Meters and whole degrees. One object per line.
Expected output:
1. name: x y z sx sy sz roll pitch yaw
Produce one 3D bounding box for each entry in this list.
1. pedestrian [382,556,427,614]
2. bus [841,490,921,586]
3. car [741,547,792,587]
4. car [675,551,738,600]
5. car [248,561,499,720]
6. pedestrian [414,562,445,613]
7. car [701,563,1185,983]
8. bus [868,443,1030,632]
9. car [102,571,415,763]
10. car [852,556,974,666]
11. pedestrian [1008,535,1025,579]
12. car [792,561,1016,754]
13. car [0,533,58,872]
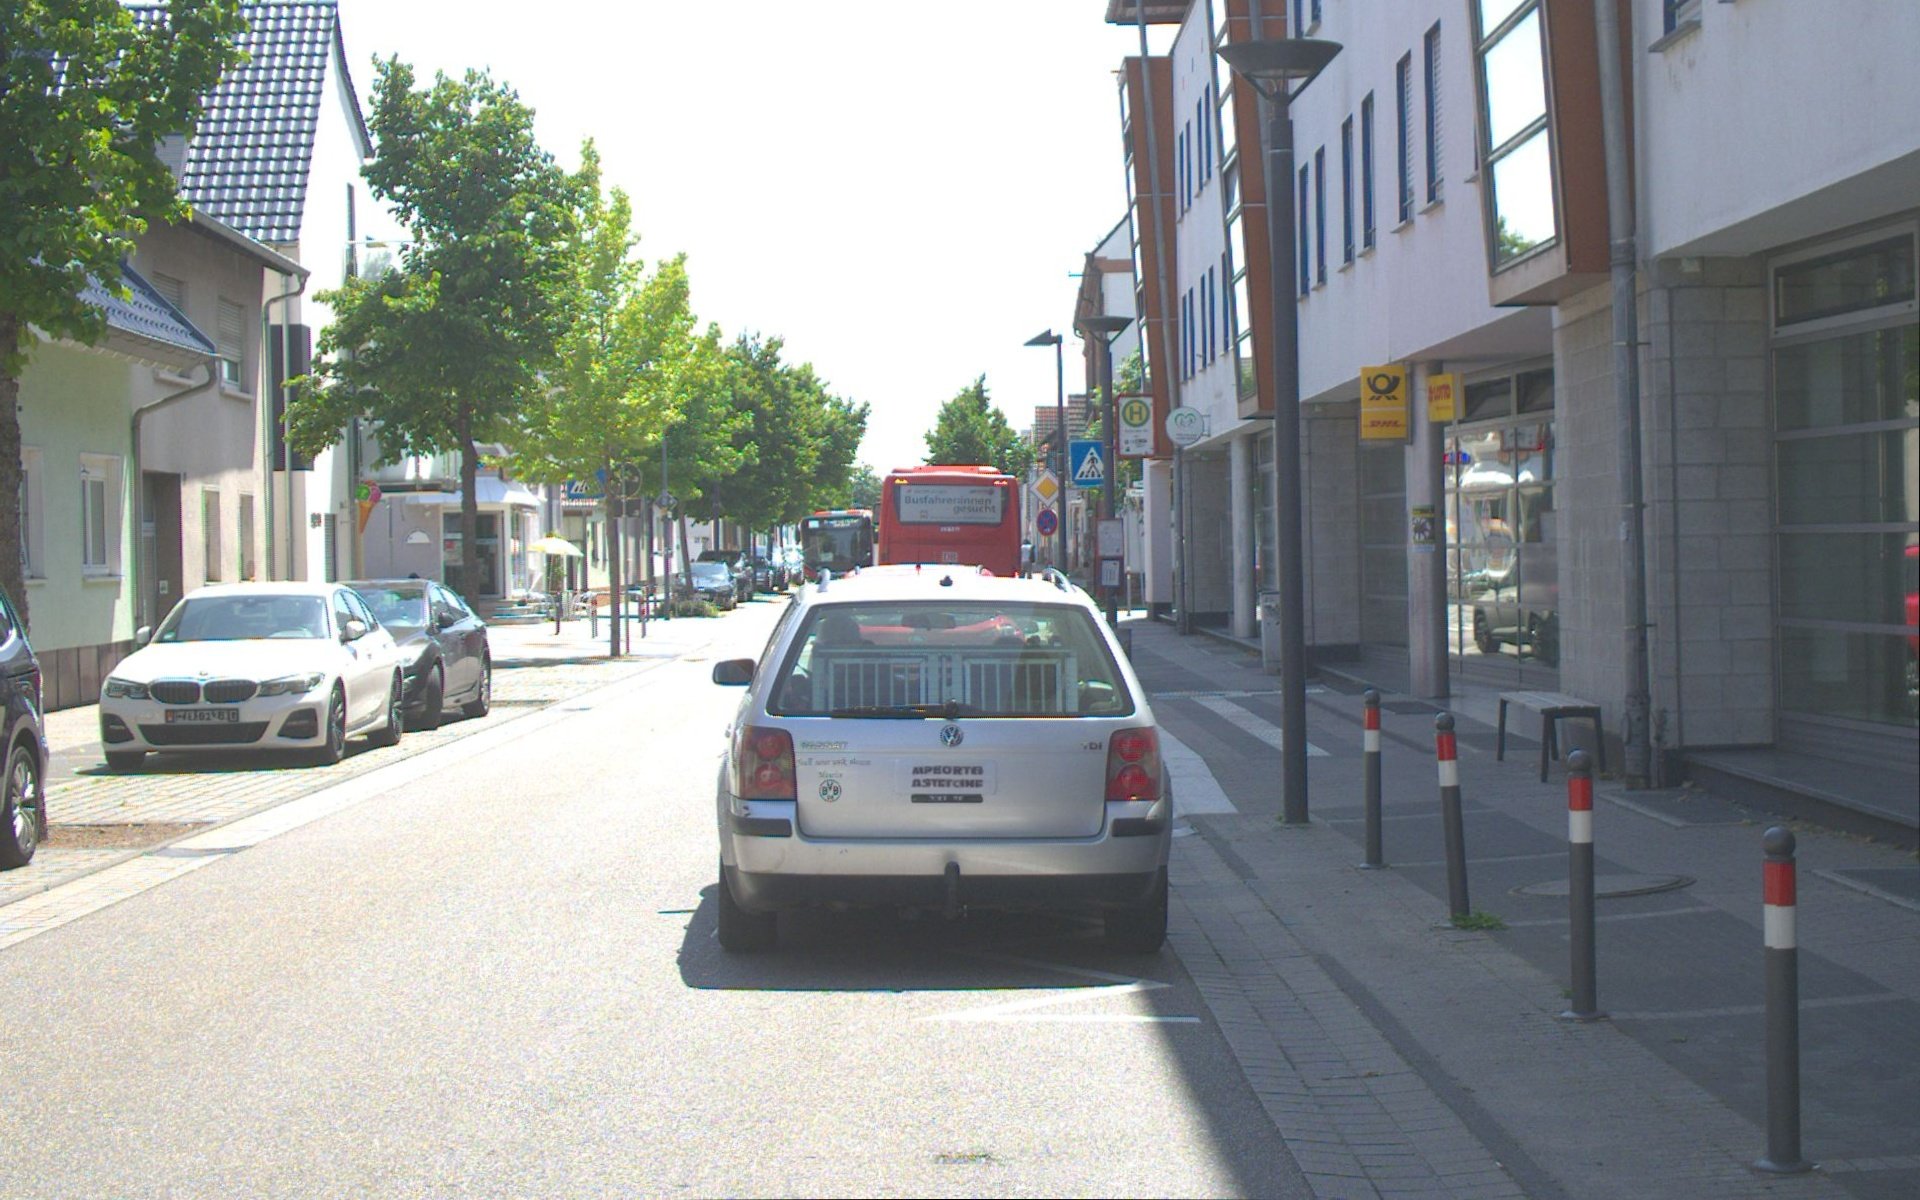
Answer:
1. pedestrian: -12.616 -0.340 78.100 0.634 1.284 0.789 1 1 -44
2. bus: -3.138 -2.505 131.750 2.668 3.112 17.811 -1 3 -3
3. car: -7.633 -1.323 135.946 1.811 1.553 4.000 -1 1 -1
4. car: -7.552 -0.745 102.768 1.605 1.433 4.065 -1 1 -1
5. car: -5.733 0.351 34.091 1.660 1.432 4.538 -1 1 0
6. pedestrian: -12.247 -0.287 79.380 0.622 1.175 0.697 -1 1 -4
7. car: -0.076 0.595 14.028 1.677 1.425 3.680 2 1 -1
8. bus: -0.364 -1.161 66.137 2.740 3.287 12.706 0 1 -2
9. car: -5.724 0.495 28.558 1.720 1.432 4.460 0 1 -1
10. car: -0.618 0.125 47.485 1.593 1.425 3.679 1 1 0
11. pedestrian: 2.110 -1.613 128.565 0.606 1.661 0.789 -1 1 -2
12. car: -0.440 0.415 27.851 1.677 1.425 3.680 1 1 0
13. car: -5.744 0.550 16.426 1.775 1.720 4.520 -1 1 -2
